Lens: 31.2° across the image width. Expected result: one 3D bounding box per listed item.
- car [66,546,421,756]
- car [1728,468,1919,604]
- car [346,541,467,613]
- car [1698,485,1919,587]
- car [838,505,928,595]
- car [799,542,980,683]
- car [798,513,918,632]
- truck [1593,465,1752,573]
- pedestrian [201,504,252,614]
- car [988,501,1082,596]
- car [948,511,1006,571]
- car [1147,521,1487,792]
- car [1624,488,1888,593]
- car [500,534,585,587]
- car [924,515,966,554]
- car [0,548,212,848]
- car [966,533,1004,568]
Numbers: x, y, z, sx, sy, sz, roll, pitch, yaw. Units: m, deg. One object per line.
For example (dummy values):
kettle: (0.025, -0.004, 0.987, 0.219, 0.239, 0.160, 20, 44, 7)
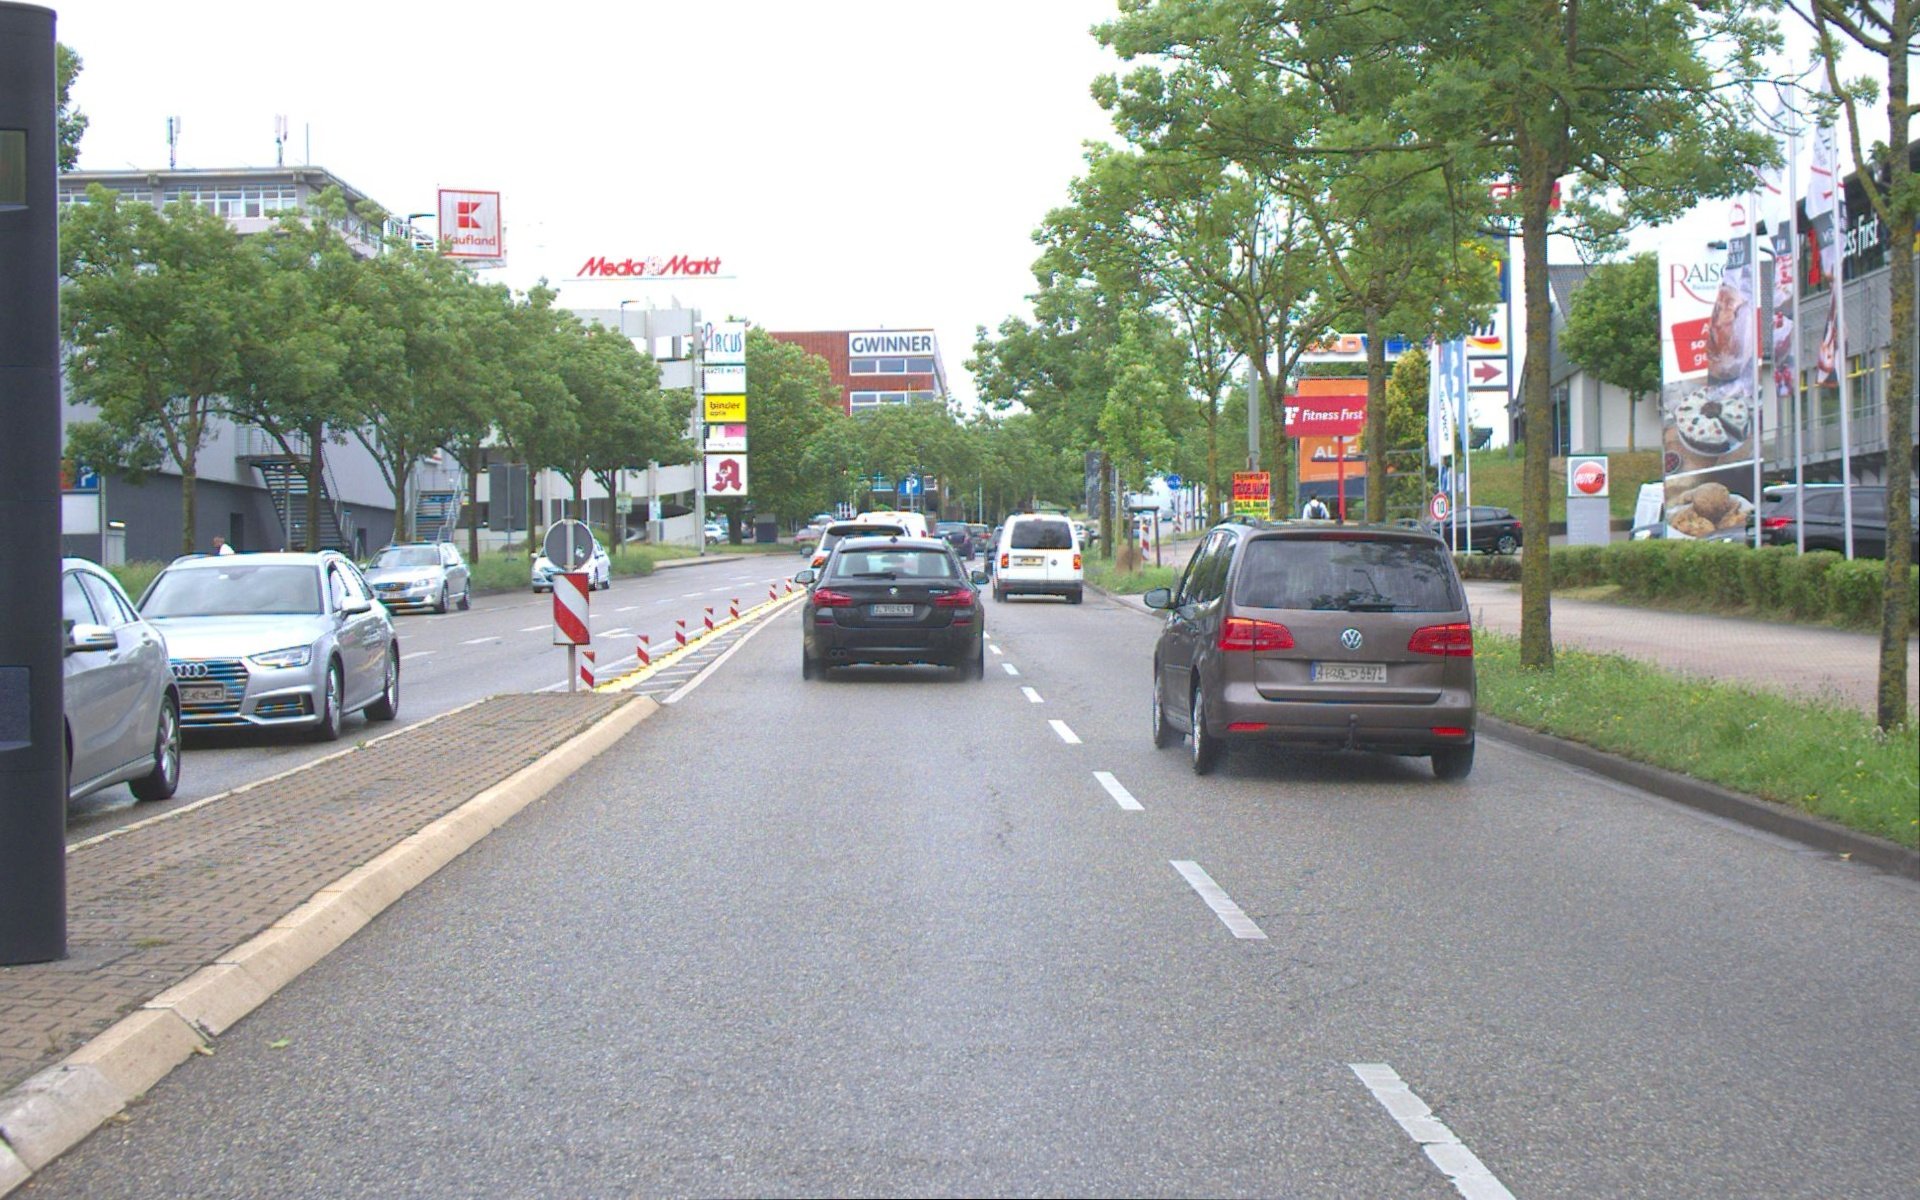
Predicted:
car: (-5.436, 0.334, 26.679, 1.723, 1.393, 4.789, -3, 1, 0)
car: (13.516, -0.962, 50.351, 4.111, 1.898, 1.799, -1, 1, 2)
car: (-11.506, -0.502, 71.701, 1.943, 1.448, 4.000, 0, 1, -1)
car: (13.649, -1.001, 53.375, 4.111, 1.530, 1.799, 0, 1, 6)
car: (-1.774, -1.146, 80.618, 1.993, 2.007, 4.000, 1, 0, 0)
car: (-0.712, 0.102, 35.861, 1.781, 1.393, 4.000, 0, 1, -1)
car: (-1.556, -0.435, 53.386, 1.781, 1.787, 4.000, 0, 1, -1)
truck: (16.514, -1.838, 79.950, 2.442, 2.340, 5.459, 1, 0, -1)
pedestrian: (-14.931, -0.845, 69.975, 0.858, 2.210, 0.846, -1, 1, -3)
car: (1.520, -1.049, 70.856, 1.782, 1.860, 4.000, -1, 1, -1)
car: (0.513, -1.724, 101.687, 1.685, 1.678, 3.402, 1, 0, 1)
car: (2.252, 0.302, 22.745, 1.801, 1.581, 4.451, 1, 1, 1)
car: (13.286, -0.998, 57.559, 4.111, 1.697, 1.799, 0, 1, 6)
car: (-11.609, -1.101, 95.769, 1.943, 1.443, 4.000, 0, 1, -1)
car: (-0.605, -2.625, 137.406, 1.594, 1.469, 3.445, 1, 0, -1)
car: (-5.400, 0.475, 18.207, 1.840, 1.372, 4.863, -4, 1, -1)
car: (1.096, -2.196, 153.493, 1.619, 1.490, 3.360, 1, 0, -1)
